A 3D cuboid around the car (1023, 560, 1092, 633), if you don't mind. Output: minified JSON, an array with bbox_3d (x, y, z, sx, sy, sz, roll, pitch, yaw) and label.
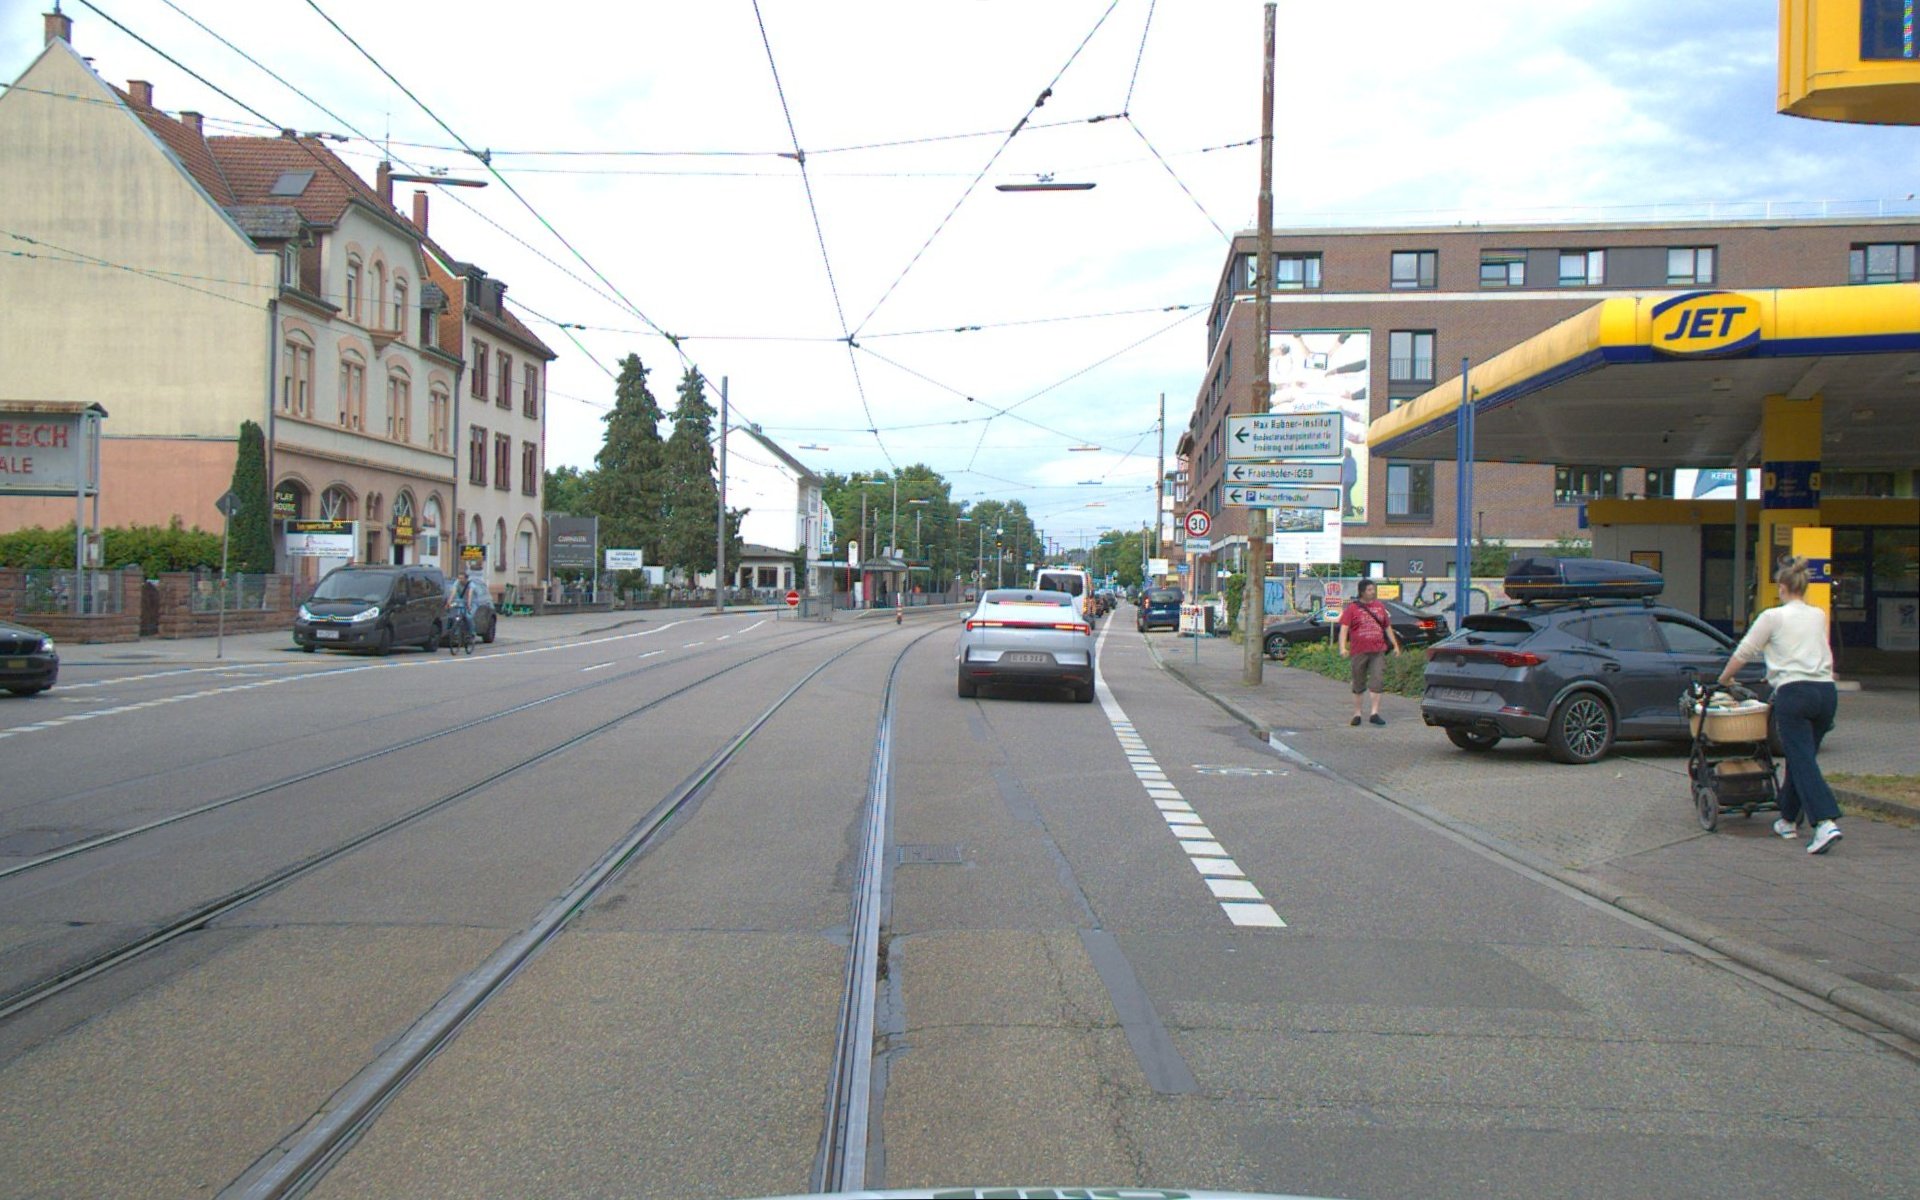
[{"bbox_3d":[3.479,-0.124,60.019,2.171,2.465,4.951,2,0,0],"label":"car"}]

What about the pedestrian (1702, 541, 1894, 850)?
[{"bbox_3d":[5.243,0.574,10.428,0.751,1.828,1.163,-2,0,12],"label":"pedestrian"}]

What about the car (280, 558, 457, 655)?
[{"bbox_3d":[-12.872,0.145,36.342,1.951,1.920,4.998,2,0,1],"label":"car"}]

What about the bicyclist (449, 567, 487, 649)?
[{"bbox_3d":[-10.919,0.175,36.724,0.722,1.780,0.976,0,0,-12],"label":"bicyclist"}]

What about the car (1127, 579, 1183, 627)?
[{"bbox_3d":[8.047,0.115,68.423,1.836,1.855,4.097,2,0,1],"label":"car"}]

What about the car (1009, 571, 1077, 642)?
[{"bbox_3d":[2.545,0.200,51.690,1.952,2.049,4.001,2,0,2],"label":"car"}]

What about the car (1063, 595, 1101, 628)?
[{"bbox_3d":[7.798,0.730,106.440,1.953,2.049,3.998,2,0,-2],"label":"car"}]

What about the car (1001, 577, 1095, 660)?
[{"bbox_3d":[2.021,0.421,38.986,1.928,1.786,3.837,2,0,0],"label":"car"}]

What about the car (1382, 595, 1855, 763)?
[{"bbox_3d":[6.629,0.713,16.710,4.249,1.523,1.984,0,0,-21],"label":"car"}]

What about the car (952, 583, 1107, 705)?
[{"bbox_3d":[0.935,0.579,24.489,1.942,1.577,4.182,2,0,-2],"label":"car"}]

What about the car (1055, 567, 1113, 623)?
[{"bbox_3d":[5.164,-0.191,69.545,2.095,2.183,4.744,2,0,1],"label":"car"}]

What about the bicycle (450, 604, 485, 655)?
[{"bbox_3d":[-10.917,0.633,36.727,0.576,1.092,1.951,0,0,-12],"label":"bicycle"}]

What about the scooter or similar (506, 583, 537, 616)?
[{"bbox_3d":[-16.547,-0.026,62.468,1.039,1.209,0.315,2,-1,-34],"label":"scooter or similar"}]

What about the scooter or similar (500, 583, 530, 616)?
[{"bbox_3d":[-16.923,-0.029,62.926,1.039,1.209,0.315,2,-1,-34],"label":"scooter or similar"}]

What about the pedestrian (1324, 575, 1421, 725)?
[{"bbox_3d":[5.030,0.602,20.230,0.951,1.769,0.861,-1,-1,1],"label":"pedestrian"}]

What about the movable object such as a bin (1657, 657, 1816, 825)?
[{"bbox_3d":[5.340,0.954,11.435,0.751,1.057,1.025,-2,0,12],"label":"movable object such as a bin"}]

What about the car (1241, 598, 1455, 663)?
[{"bbox_3d":[9.538,0.714,40.810,4.789,1.452,1.945,1,1,36],"label":"car"}]

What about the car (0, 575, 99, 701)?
[{"bbox_3d":[-12.470,0.387,19.678,3.838,1.412,1.803,1,0,19],"label":"car"}]

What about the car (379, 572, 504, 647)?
[{"bbox_3d":[-13.171,0.235,42.256,1.807,1.748,4.193,2,0,0],"label":"car"}]
